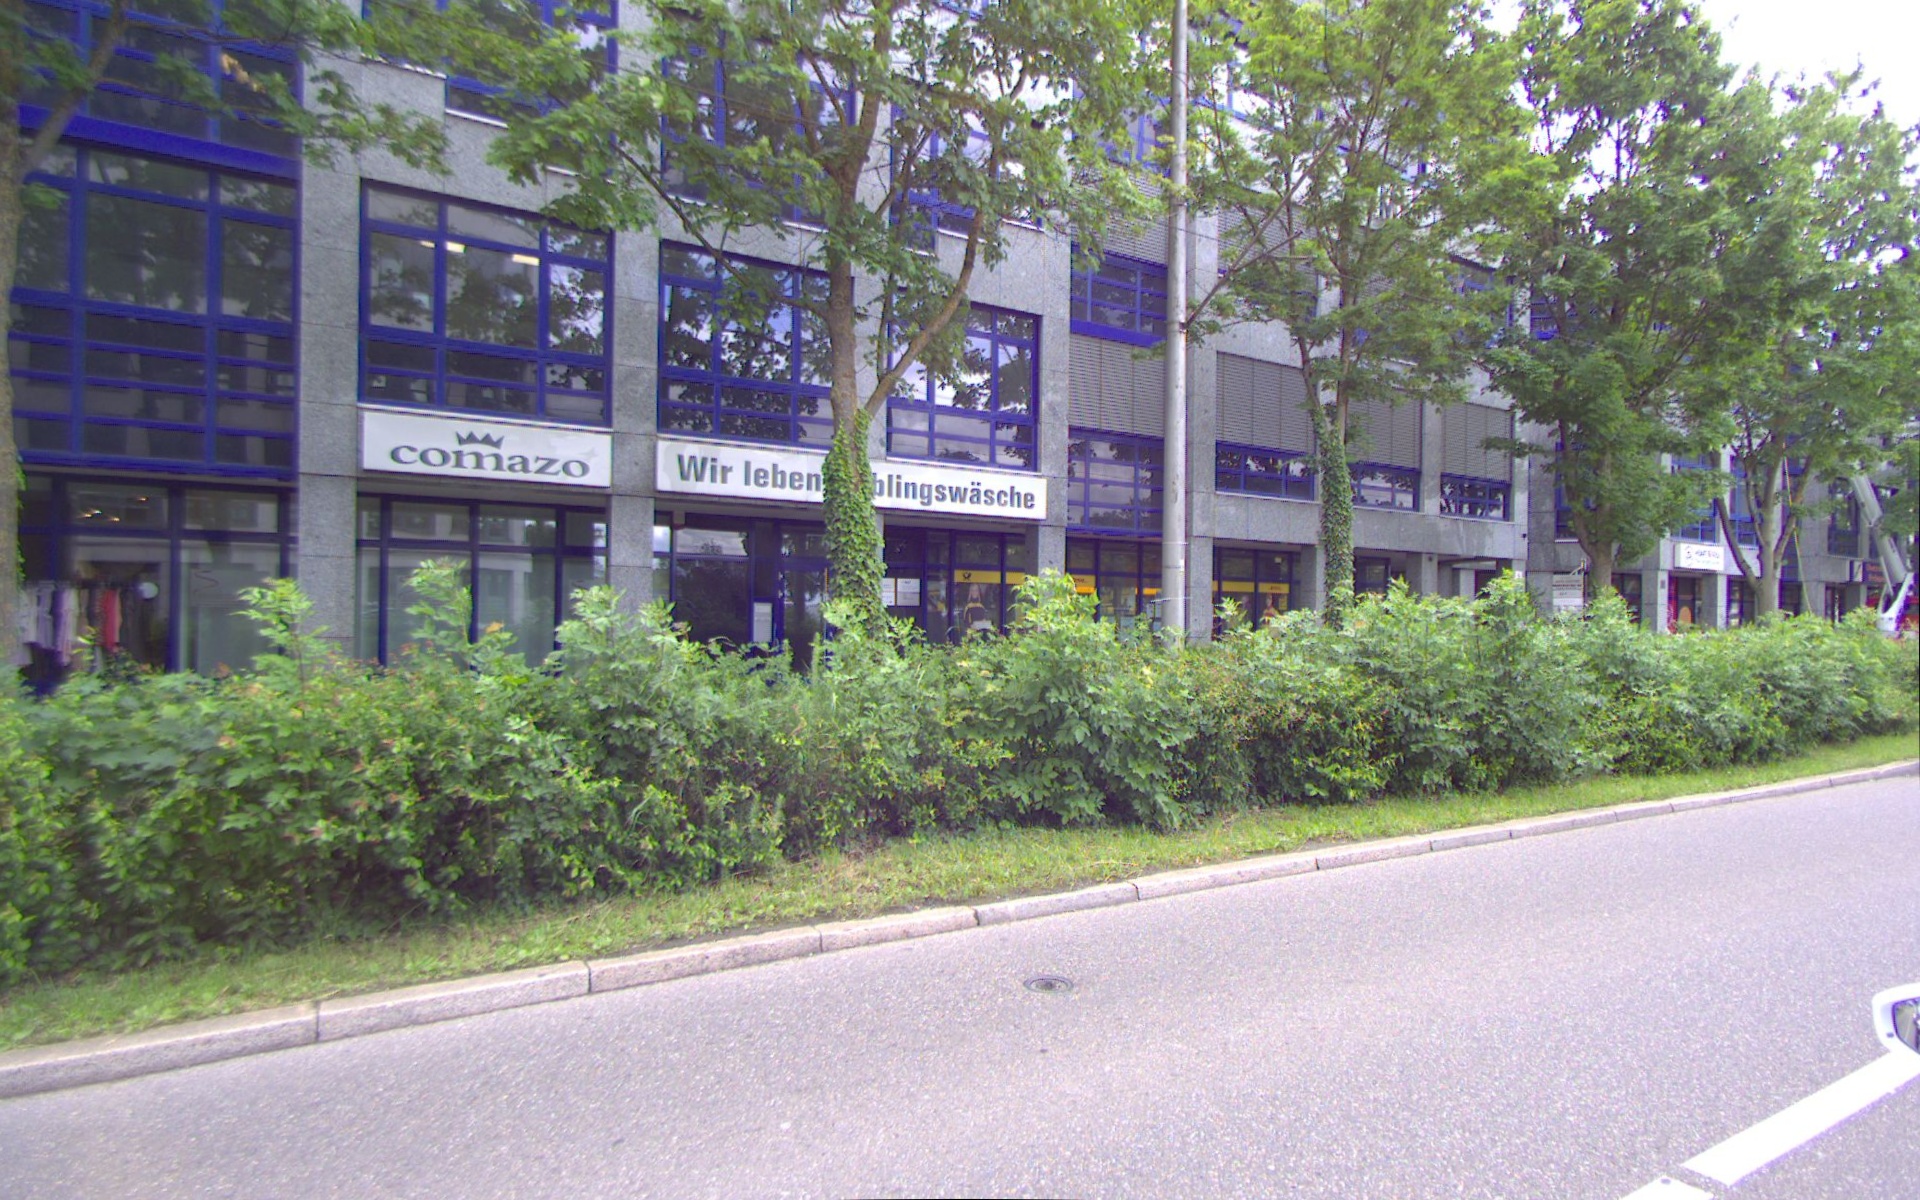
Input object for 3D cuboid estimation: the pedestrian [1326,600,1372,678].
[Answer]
[{"bbox_3d":[9.827,0.981,25.388,0.723,1.919,0.771,2,0,-30],"label":"pedestrian"}]
